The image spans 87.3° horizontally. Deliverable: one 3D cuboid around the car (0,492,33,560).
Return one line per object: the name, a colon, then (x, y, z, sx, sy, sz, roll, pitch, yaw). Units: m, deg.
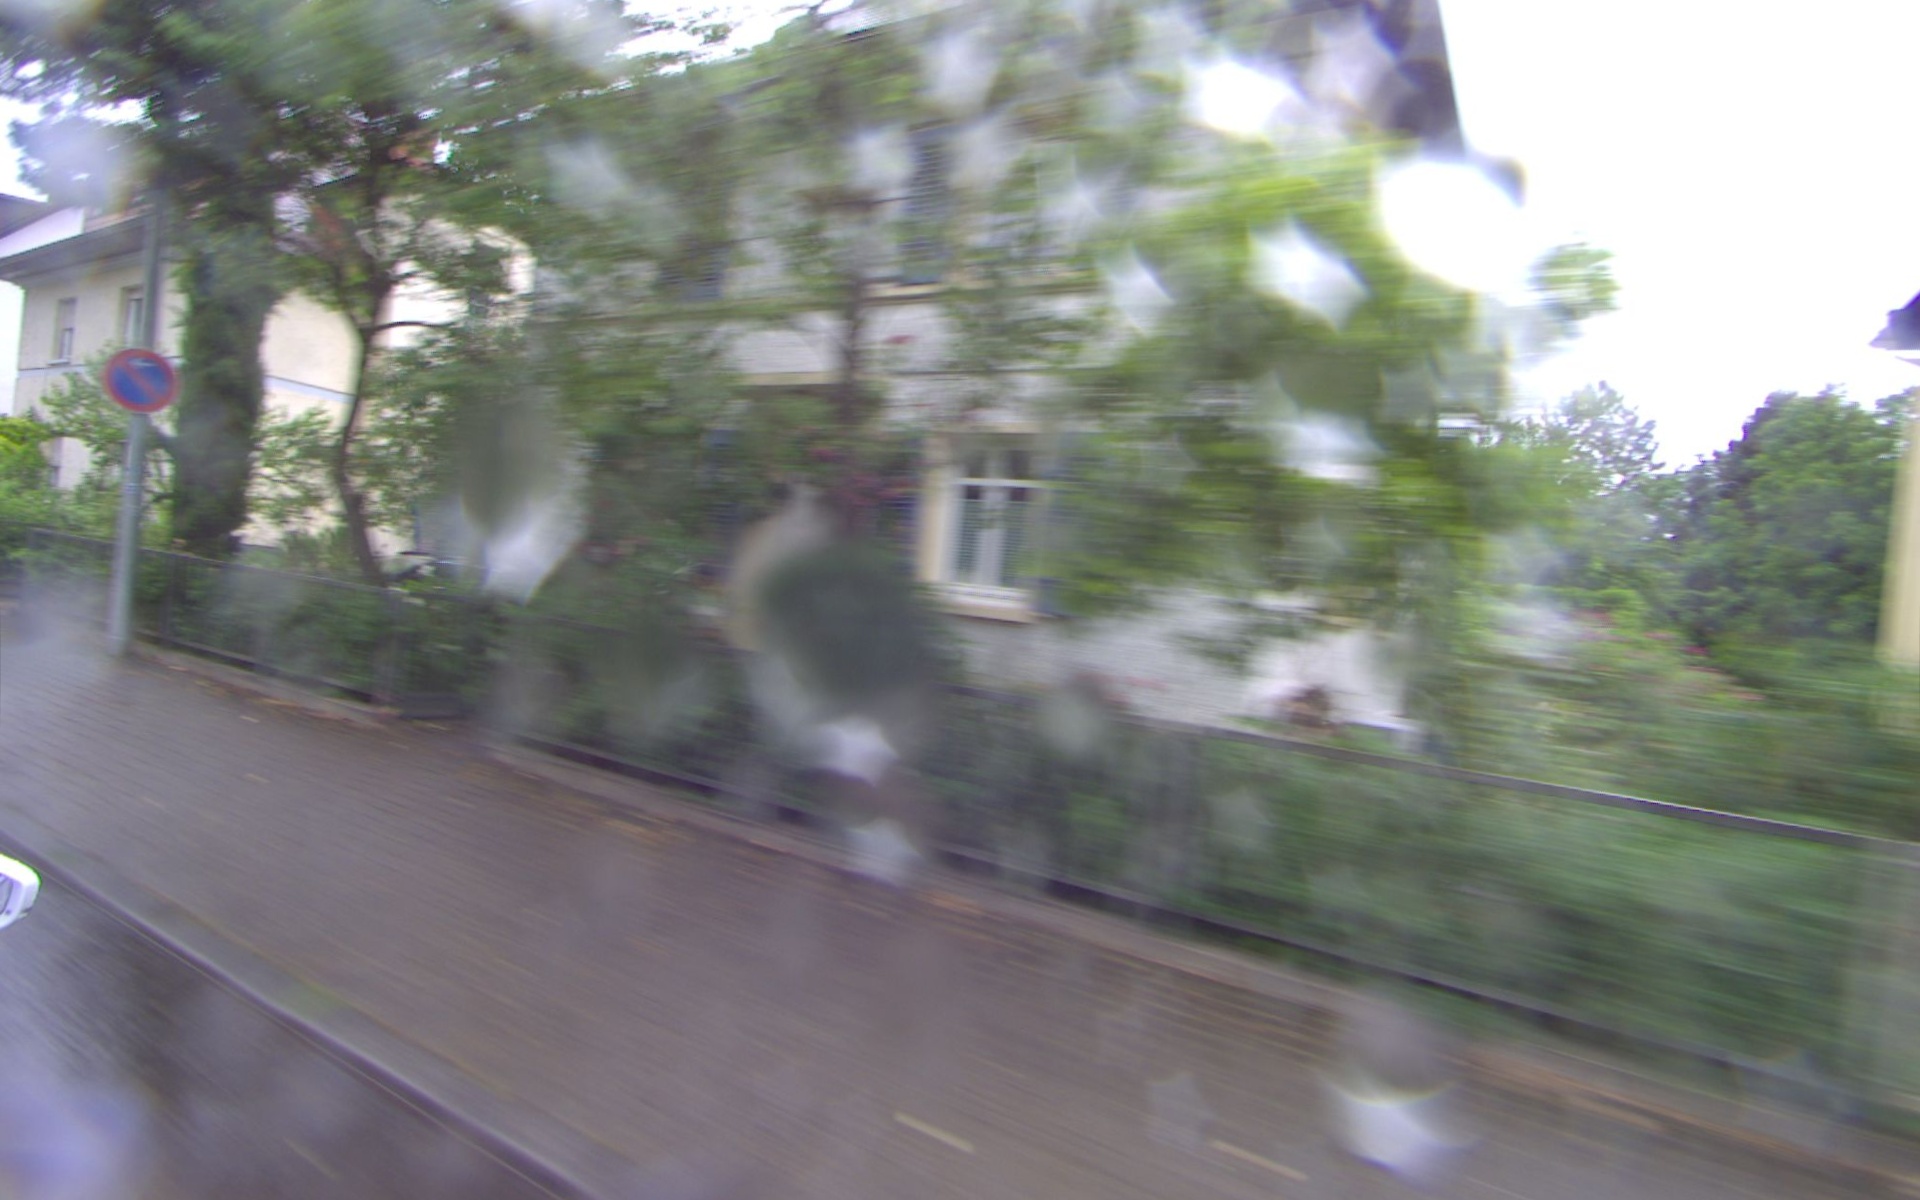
car: (-21.712, -1.756, 20.012, 4.325, 1.381, 1.909, 7, -1, -24)

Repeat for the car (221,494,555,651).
car: (-8.772, -0.346, 15.758, 1.792, 1.595, 3.999, 7, -6, 35)

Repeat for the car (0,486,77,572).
car: (-18.918, -1.496, 18.208, 3.947, 1.475, 1.761, 7, 1, -24)
